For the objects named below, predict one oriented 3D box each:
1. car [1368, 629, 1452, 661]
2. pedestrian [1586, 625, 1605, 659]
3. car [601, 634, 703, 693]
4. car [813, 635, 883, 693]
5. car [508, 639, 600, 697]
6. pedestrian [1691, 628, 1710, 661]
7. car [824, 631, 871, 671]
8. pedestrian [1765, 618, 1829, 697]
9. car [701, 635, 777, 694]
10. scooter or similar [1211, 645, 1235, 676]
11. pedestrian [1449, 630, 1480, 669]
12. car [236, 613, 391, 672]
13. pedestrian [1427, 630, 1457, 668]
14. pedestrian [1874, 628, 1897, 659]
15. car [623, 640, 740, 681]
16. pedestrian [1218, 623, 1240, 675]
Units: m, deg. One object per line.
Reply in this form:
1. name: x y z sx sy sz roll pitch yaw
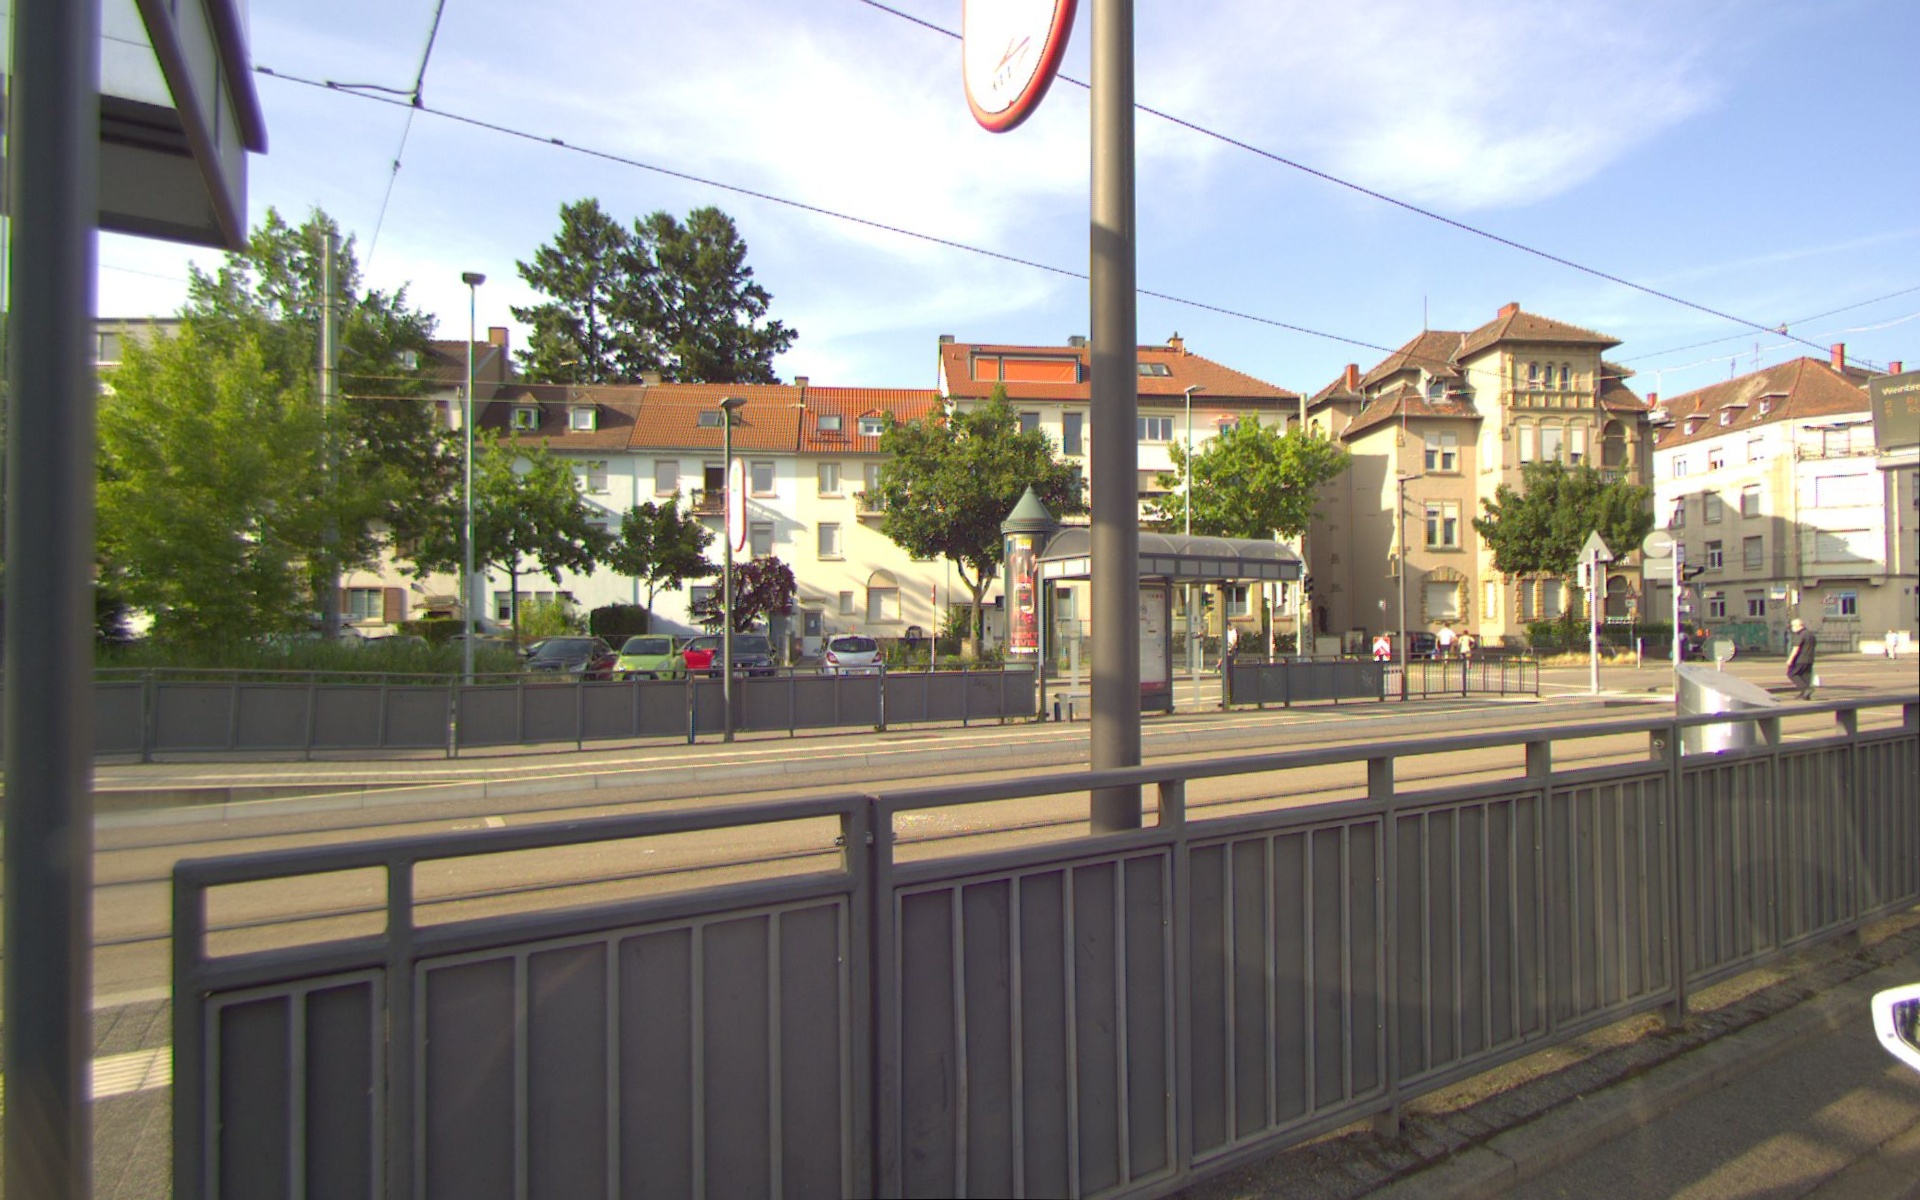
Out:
1. car: 21.389 2.136 47.930 1.732 1.327 4.111 1 0 -8
2. pedestrian: 28.451 1.880 44.964 0.540 1.520 0.437 0 -2 -15
3. car: -8.465 1.703 27.942 1.813 1.505 3.999 0 -2 -3
4. car: -3.249 1.757 28.521 1.815 1.505 3.995 0 -2 -9
5. car: -10.777 1.759 26.915 1.968 1.416 3.985 0 -2 -18
6. pedestrian: 33.552 2.015 45.522 0.382 1.520 0.534 0 -2 -15
7. car: -5.027 2.259 44.893 1.963 1.684 3.997 0 -2 -6
8. pedestrian: 18.066 1.241 21.701 0.778 1.667 0.757 -1 -2 16
9. car: -6.064 1.749 27.968 1.815 1.505 3.995 0 -2 -9
10. scooter or similar: 8.868 2.031 33.898 0.548 1.001 1.022 -1 -2 28
11. pedestrian: 20.784 2.036 41.385 0.768 1.572 0.831 0 -2 -8
12. car: -17.549 1.151 27.532 1.813 1.505 3.999 0 -2 -3
13. pedestrian: 20.261 2.054 42.224 0.768 1.572 0.831 0 -2 -8
14. pedestrian: 46.715 2.199 50.703 0.702 1.561 0.626 1 -2 -30
15. car: -10.161 2.203 36.911 3.927 1.416 1.836 0 -2 -9
16. pedestrian: 9.302 1.691 34.695 0.539 1.769 0.762 -1 -2 28
